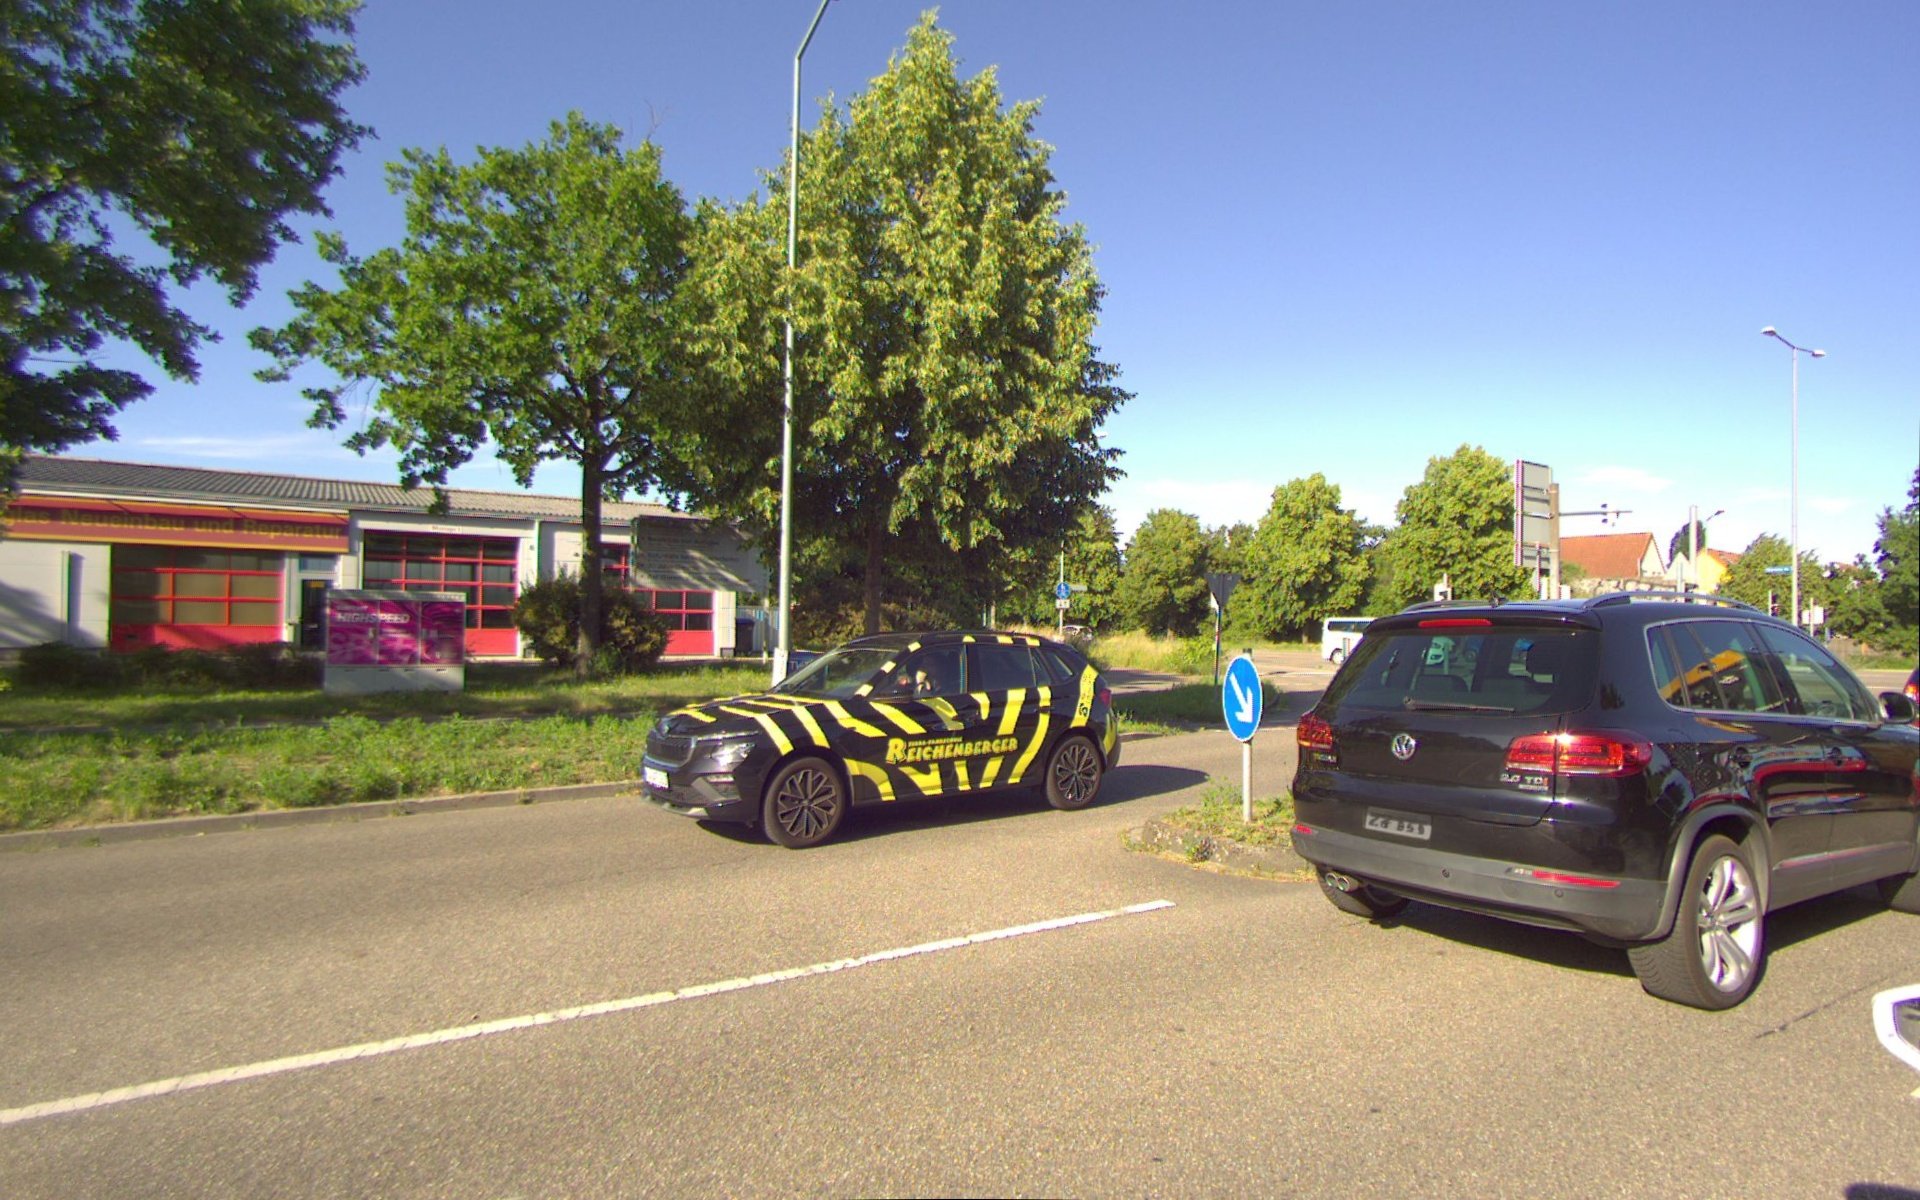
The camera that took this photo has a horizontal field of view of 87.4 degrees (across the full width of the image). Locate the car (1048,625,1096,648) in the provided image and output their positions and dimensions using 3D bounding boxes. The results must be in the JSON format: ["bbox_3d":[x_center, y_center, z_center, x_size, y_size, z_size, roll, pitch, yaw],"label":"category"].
[{"bbox_3d":[8.791,2.854,79.270,1.691,1.634,3.781,2,0,-35],"label":"car"}]

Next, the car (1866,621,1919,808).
[{"bbox_3d":[10.229,1.006,9.209,3.954,1.610,1.753,1,-3,-31],"label":"car"}]

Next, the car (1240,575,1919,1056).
[{"bbox_3d":[3.552,0.829,5.307,3.954,1.675,1.763,1,-3,-31],"label":"car"}]

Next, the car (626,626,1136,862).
[{"bbox_3d":[-0.536,1.030,8.547,4.043,1.546,1.750,2,-3,-37],"label":"car"}]

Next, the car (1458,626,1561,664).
[{"bbox_3d":[23.753,1.919,43.491,1.733,1.581,3.559,2,-2,-35],"label":"car"}]

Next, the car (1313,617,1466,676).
[{"bbox_3d":[17.236,1.810,40.596,2.160,2.146,5.350,2,-1,-35],"label":"car"}]
